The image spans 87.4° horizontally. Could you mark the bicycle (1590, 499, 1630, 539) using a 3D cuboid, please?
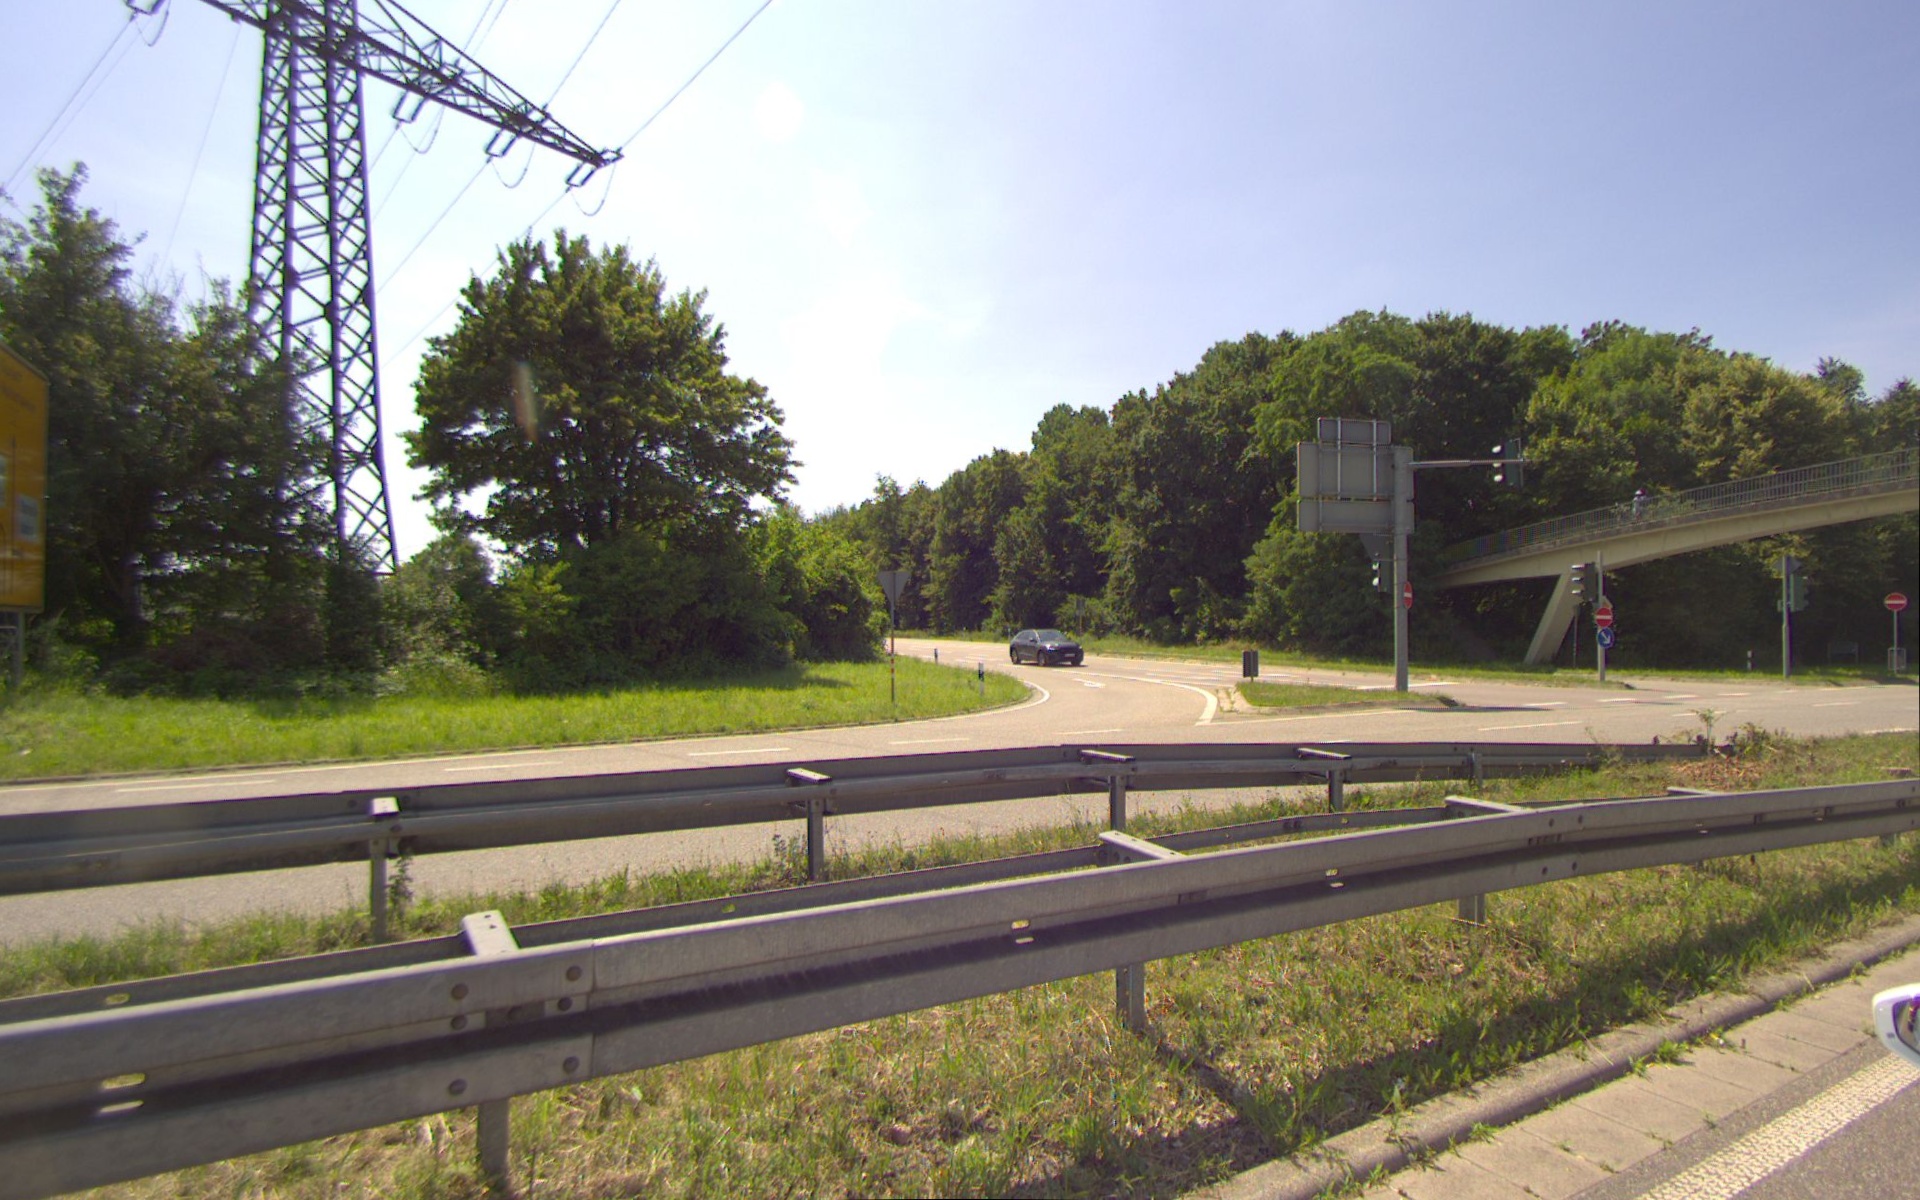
[{"bbox_3d":[27.869,-3.472,43.079,0.462,1.493,1.528,2,-3,-14],"label":"bicycle"}]

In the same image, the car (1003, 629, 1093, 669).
[{"bbox_3d":[4.066,2.268,47.433,2.020,1.721,5.058,-2,-1,-24],"label":"car"}]
